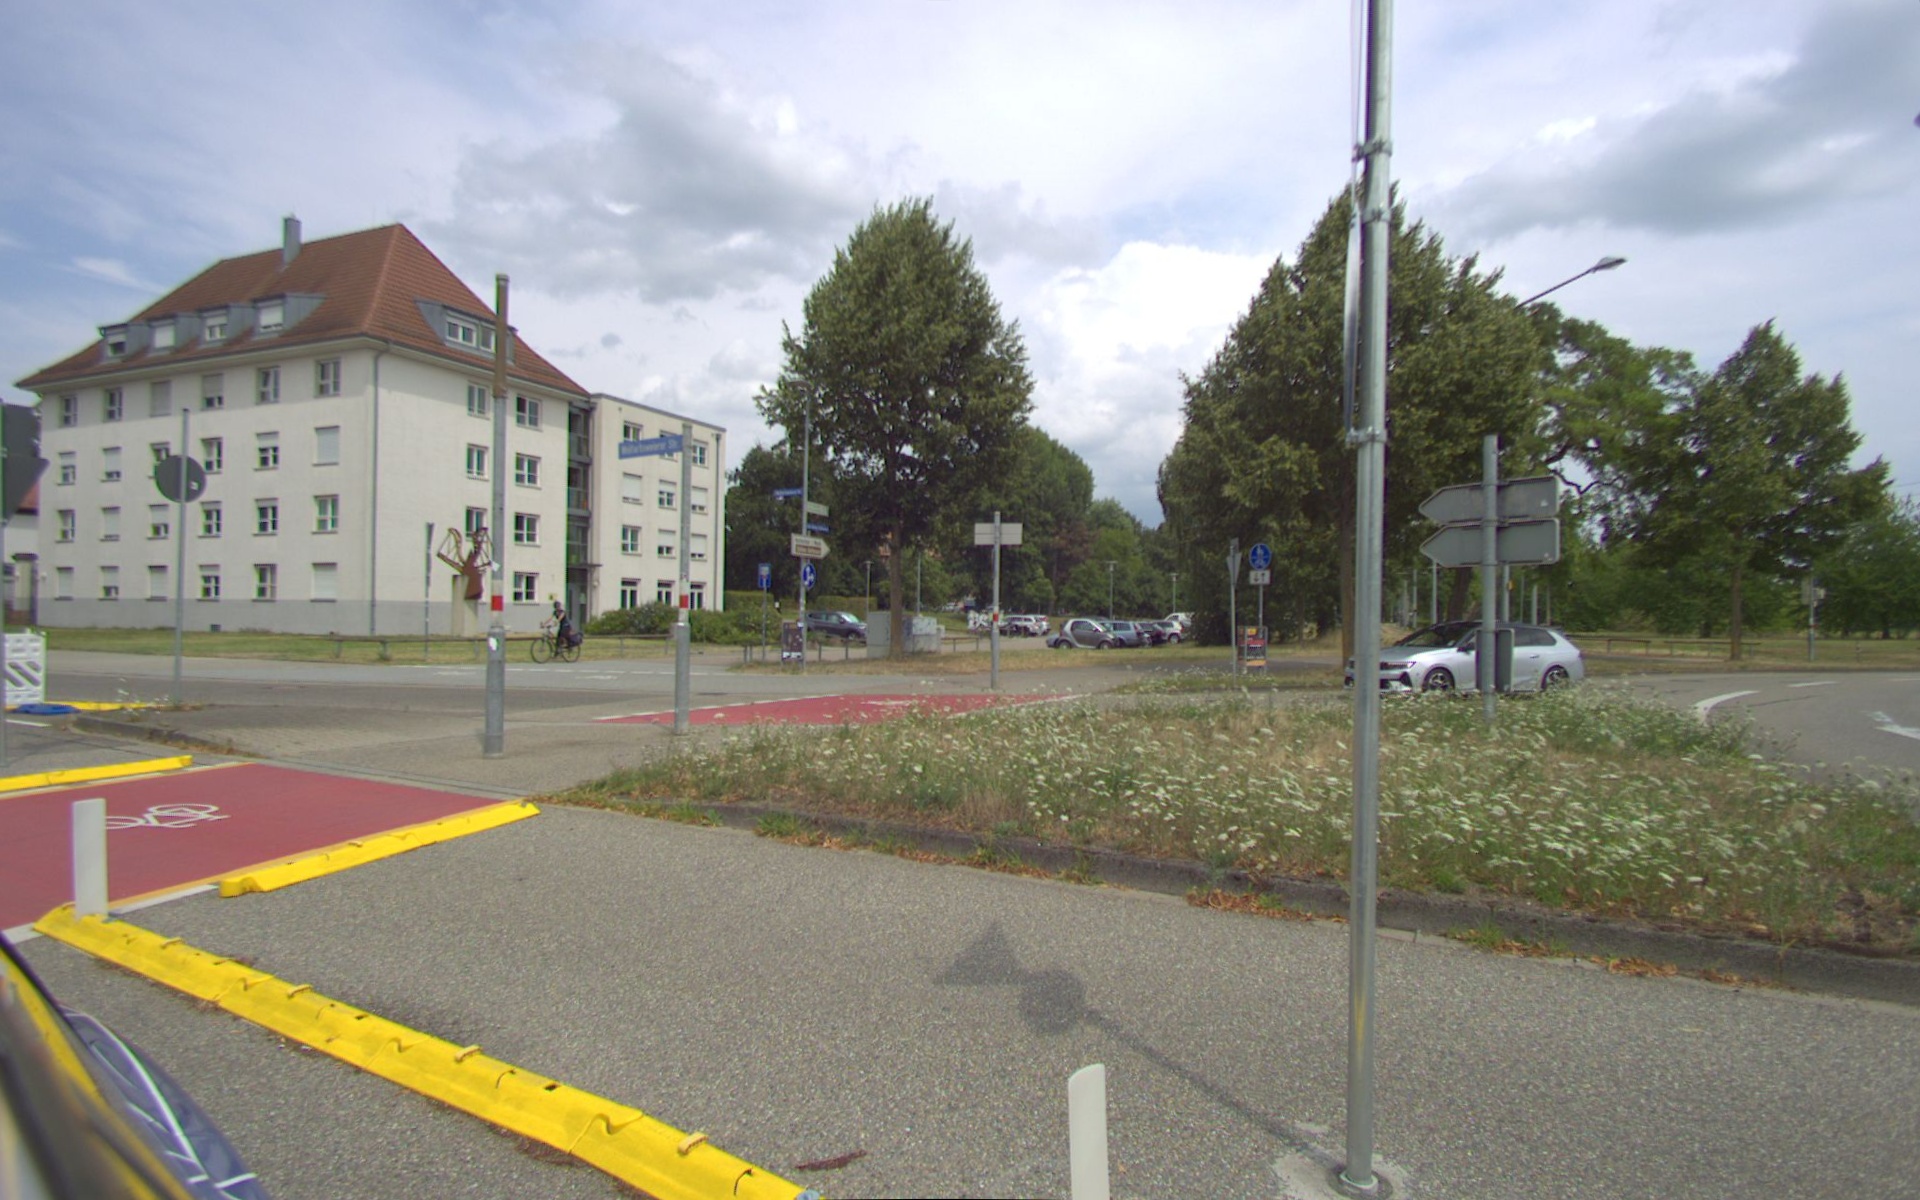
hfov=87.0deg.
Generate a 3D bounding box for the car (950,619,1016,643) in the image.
[{"bbox_3d":[1.493,2.020,66.665,3.981,1.479,1.804,0,-1,23],"label":"car"}]

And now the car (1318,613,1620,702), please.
[{"bbox_3d":[9.415,1.001,18.751,5.094,1.493,2.006,1,-1,-19],"label":"car"}]

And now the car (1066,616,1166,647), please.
[{"bbox_3d":[8.128,1.609,52.727,4.859,1.482,1.818,0,-1,24],"label":"car"}]

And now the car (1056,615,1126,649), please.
[{"bbox_3d":[5.864,1.460,45.379,2.891,1.434,1.475,-2,-3,17],"label":"car"}]

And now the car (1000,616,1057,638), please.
[{"bbox_3d":[5.206,2.045,77.107,3.980,1.586,1.804,0,-2,23],"label":"car"}]

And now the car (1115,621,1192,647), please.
[{"bbox_3d":[11.794,2.054,61.651,4.360,1.482,1.818,0,-1,24],"label":"car"}]

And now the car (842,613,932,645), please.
[{"bbox_3d":[-3.870,1.498,53.924,4.381,1.610,1.984,0,-1,25],"label":"car"}]

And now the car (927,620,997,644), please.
[{"bbox_3d":[0.138,1.974,63.055,3.981,1.479,1.804,0,-1,23],"label":"car"}]

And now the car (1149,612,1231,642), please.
[{"bbox_3d":[16.694,1.908,73.476,5.531,2.071,2.185,0,-1,22],"label":"car"}]

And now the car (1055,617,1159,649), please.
[{"bbox_3d":[7.334,1.620,50.473,4.859,1.482,1.818,0,-1,24],"label":"car"}]

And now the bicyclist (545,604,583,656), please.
[{"bbox_3d":[-11.088,0.830,28.367,0.600,1.434,0.795,-1,-2,30],"label":"bicyclist"}]

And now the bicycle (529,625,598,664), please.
[{"bbox_3d":[-11.088,1.230,28.367,0.599,1.054,1.810,-1,-1,30],"label":"bicycle"}]

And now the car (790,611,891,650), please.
[{"bbox_3d":[-5.777,1.436,48.803,4.470,1.778,1.985,0,-1,23],"label":"car"}]

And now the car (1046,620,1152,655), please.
[{"bbox_3d":[6.567,1.774,47.810,4.672,1.482,1.820,-2,-2,21],"label":"car"}]

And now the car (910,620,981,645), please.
[{"bbox_3d":[-0.874,1.939,61.187,3.981,1.479,1.603,0,-1,23],"label":"car"}]

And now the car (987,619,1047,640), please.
[{"bbox_3d":[4.070,2.100,72.519,3.981,1.479,1.804,0,-1,23],"label":"car"}]
